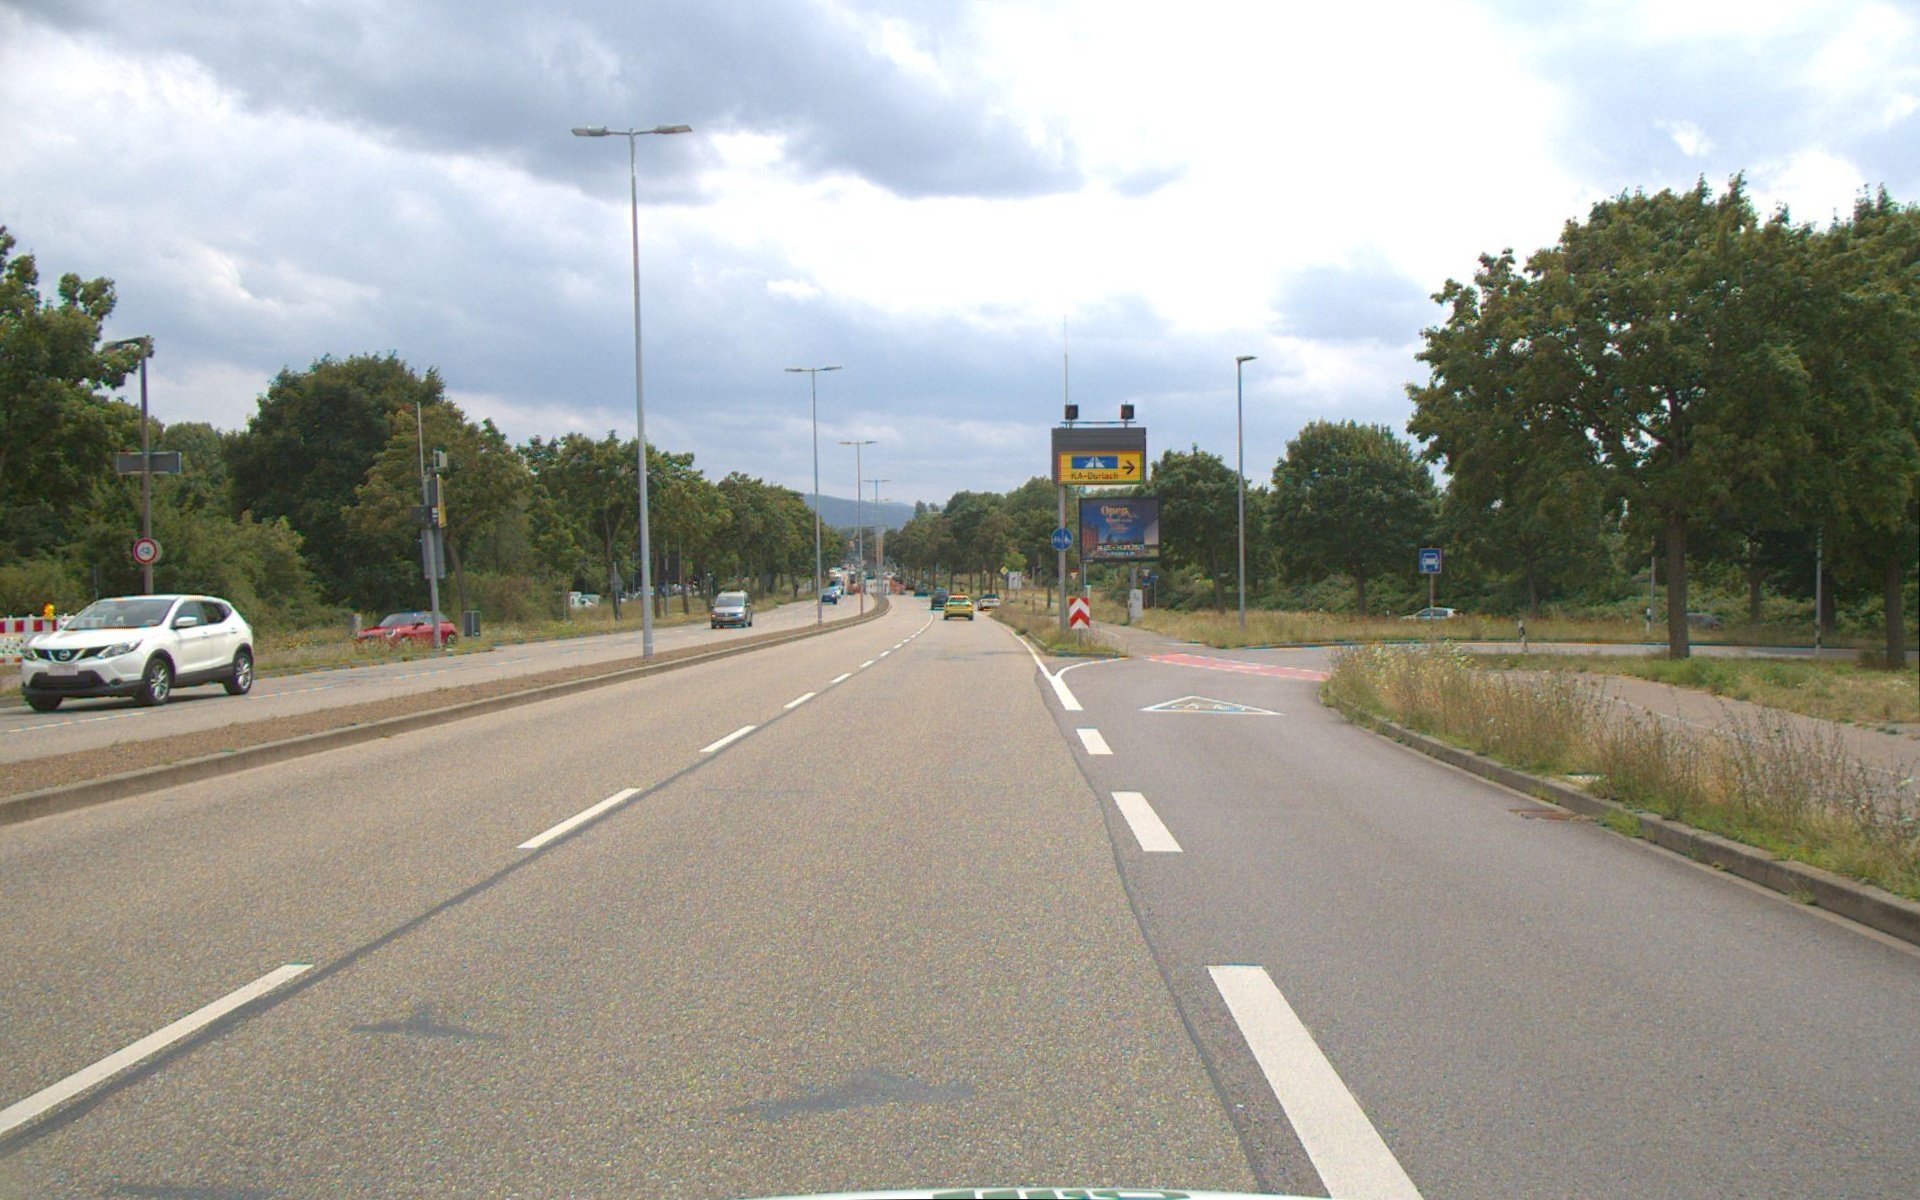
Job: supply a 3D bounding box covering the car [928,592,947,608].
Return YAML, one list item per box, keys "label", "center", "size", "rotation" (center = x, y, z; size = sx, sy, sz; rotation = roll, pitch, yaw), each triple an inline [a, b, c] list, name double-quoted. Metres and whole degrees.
- label: "car"
  center: [-1.993, -0.009, 144.634]
  size: [1.633, 1.292, 3.999]
  rotation: [-1, 1, -2]

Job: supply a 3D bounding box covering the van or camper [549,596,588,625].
- label: "van or camper"
  center: [-37.842, 0.990, 160.062]
  size: [2.422, 2.585, 6.719]
  rotation: [-1, 1, -2]

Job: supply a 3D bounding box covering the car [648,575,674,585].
- label: "car"
  center: [-45.507, -3.079, 251.732]
  size: [3.696, 1.450, 1.966]
  rotation: [-1, 1, -1]

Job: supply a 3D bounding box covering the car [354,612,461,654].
- label: "car"
  center: [-18.249, 1.060, 54.807]
  size: [1.374, 1.266, 3.893]
  rotation: [1, 0, 17]

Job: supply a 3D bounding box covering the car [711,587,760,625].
- label: "car"
  center: [-11.431, 0.278, 84.554]
  size: [1.864, 1.841, 4.540]
  rotation: [0, 1, 0]

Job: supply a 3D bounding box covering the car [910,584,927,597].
- label: "car"
  center: [-5.563, -1.296, 222.006]
  size: [2.161, 1.713, 4.000]
  rotation: [0, 1, -1]

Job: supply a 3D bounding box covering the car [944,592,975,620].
- label: "car"
  center: [-0.021, 0.347, 100.027]
  size: [1.757, 1.589, 3.999]
  rotation: [-1, 1, -2]

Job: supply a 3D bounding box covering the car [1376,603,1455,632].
- label: "car"
  center: [25.508, 0.956, 92.767]
  size: [3.928, 1.489, 1.763]
  rotation: [1, 2, 41]

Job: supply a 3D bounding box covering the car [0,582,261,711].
- label: "car"
  center: [-12.094, 0.599, 24.332]
  size: [1.659, 1.657, 4.385]
  rotation: [0, 1, 1]

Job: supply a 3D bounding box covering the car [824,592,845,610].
- label: "car"
  center: [-13.615, 0.089, 179.670]
  size: [1.953, 1.843, 4.797]
  rotation: [-1, 1, -1]

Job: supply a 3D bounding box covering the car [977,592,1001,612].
- label: "car"
  center: [2.530, 0.152, 145.043]
  size: [1.973, 1.699, 3.999]
  rotation: [-1, 1, -2]
